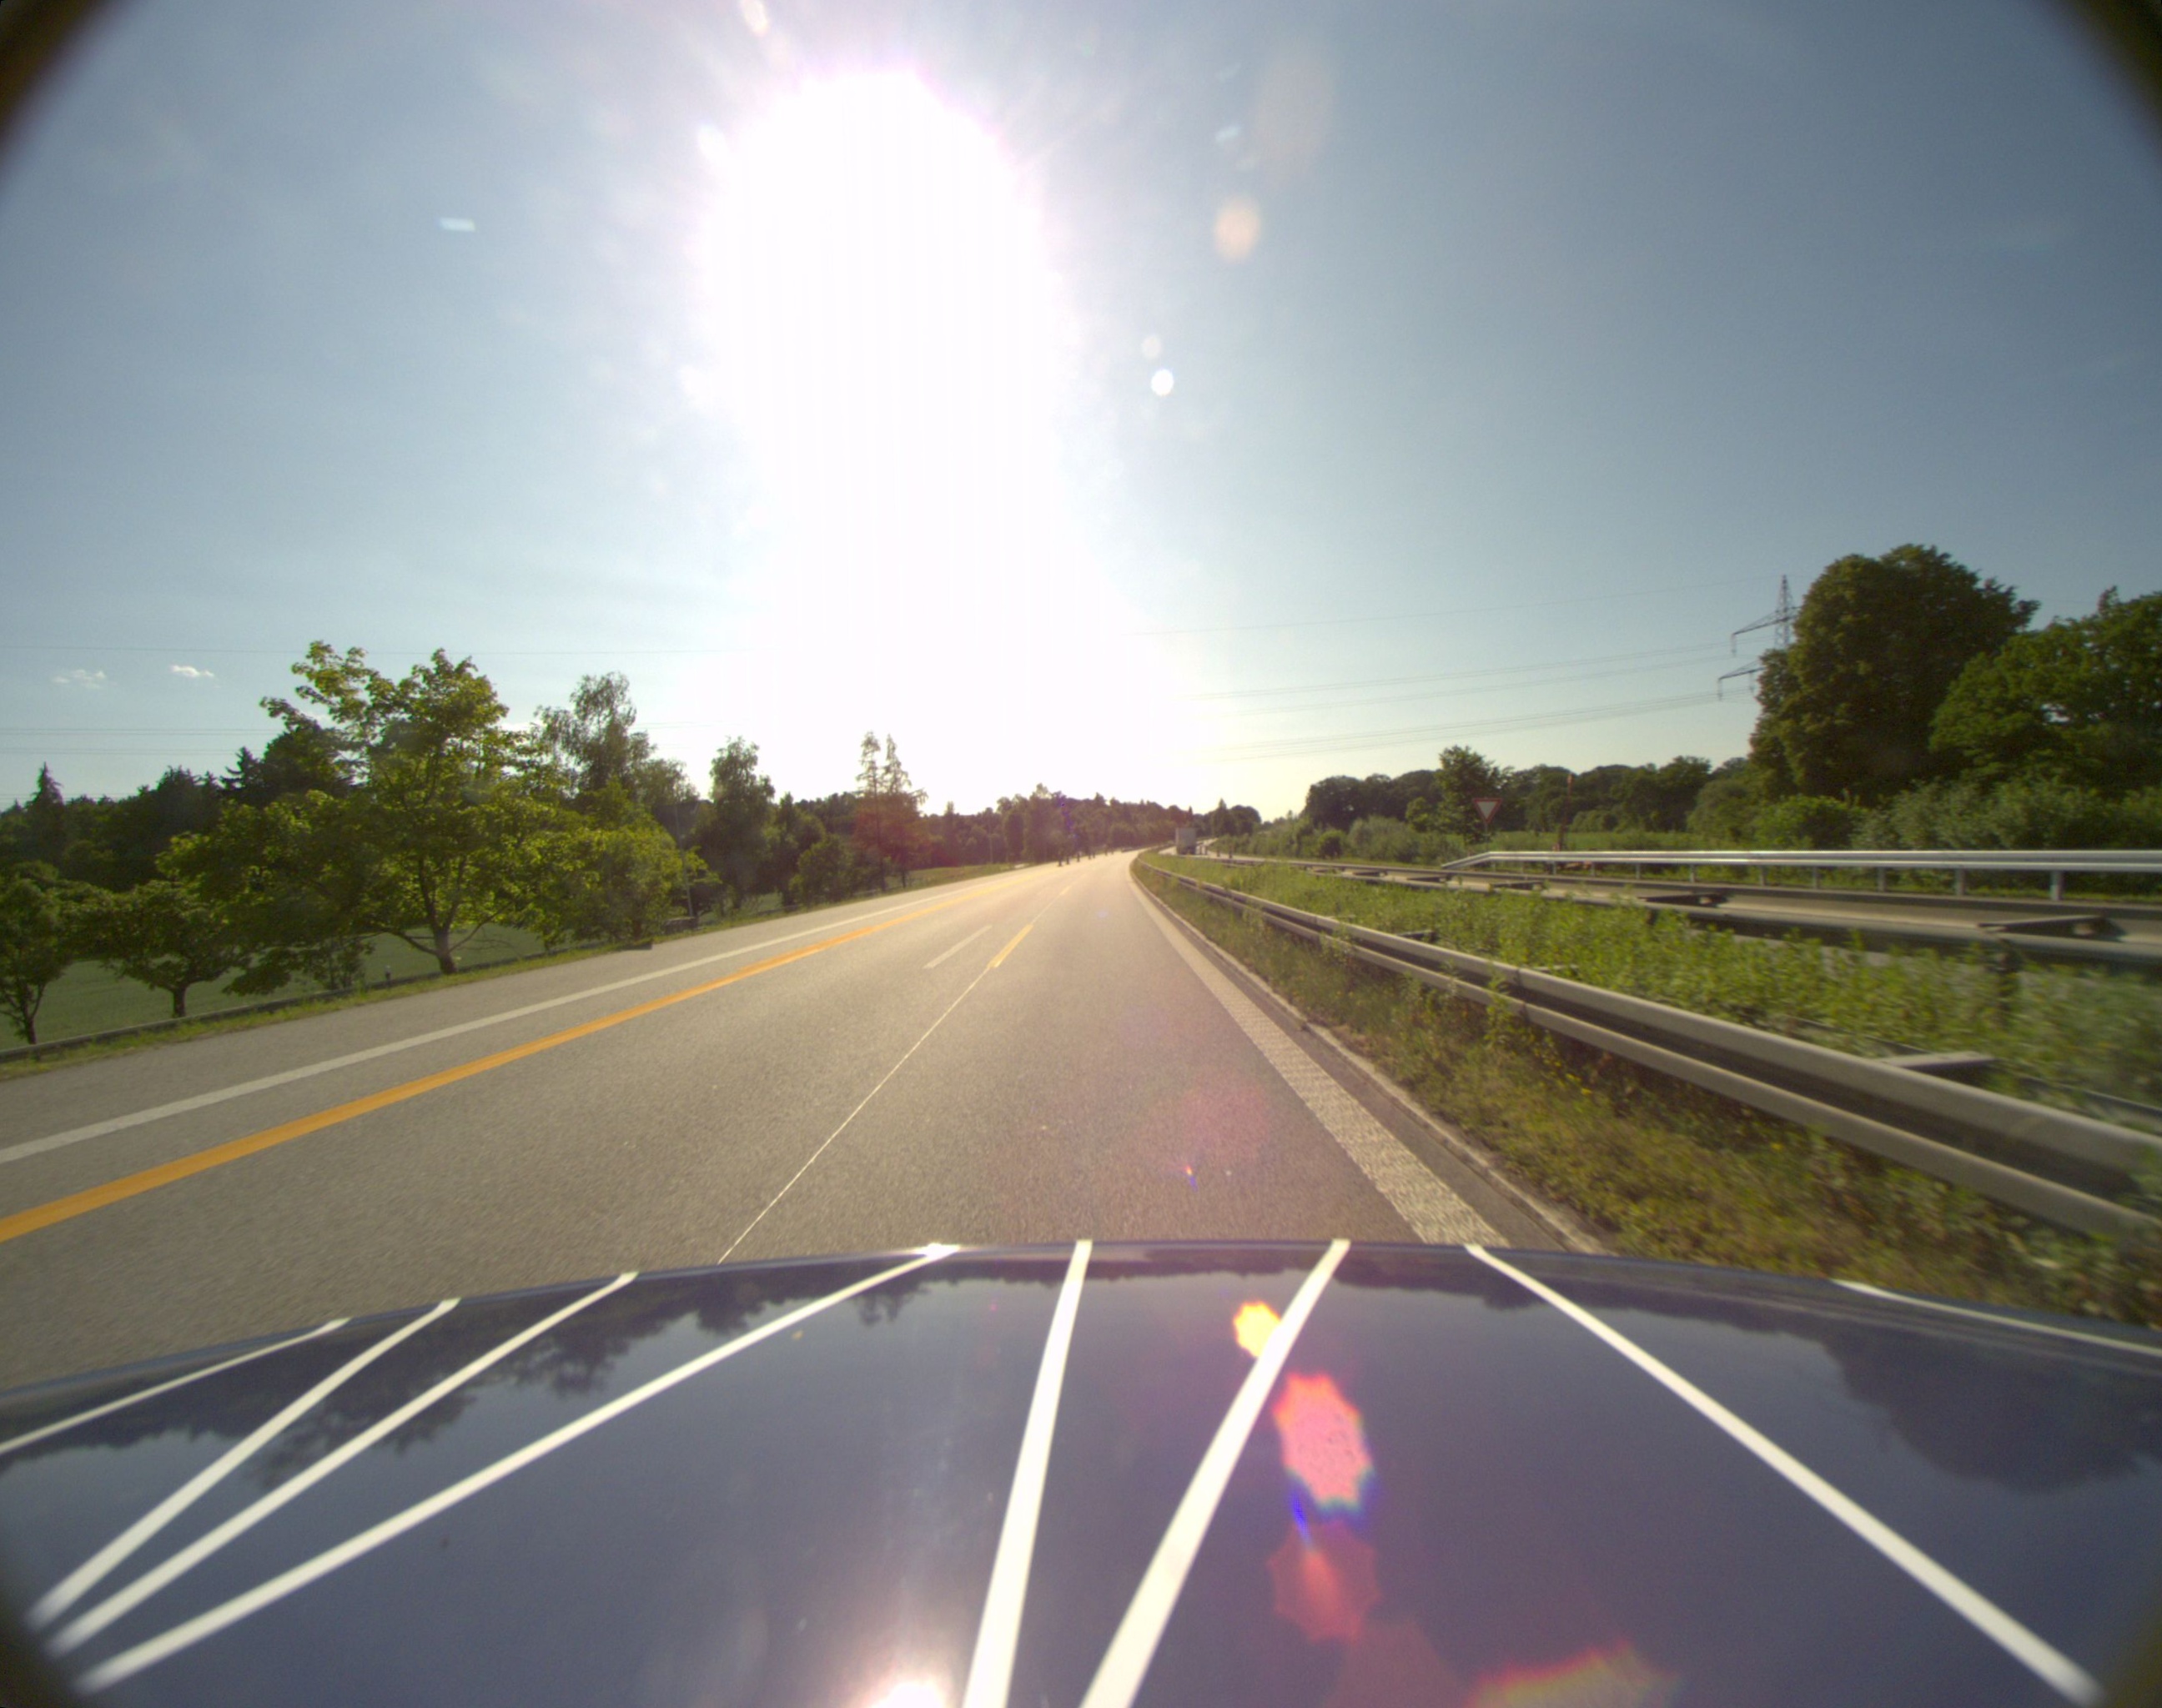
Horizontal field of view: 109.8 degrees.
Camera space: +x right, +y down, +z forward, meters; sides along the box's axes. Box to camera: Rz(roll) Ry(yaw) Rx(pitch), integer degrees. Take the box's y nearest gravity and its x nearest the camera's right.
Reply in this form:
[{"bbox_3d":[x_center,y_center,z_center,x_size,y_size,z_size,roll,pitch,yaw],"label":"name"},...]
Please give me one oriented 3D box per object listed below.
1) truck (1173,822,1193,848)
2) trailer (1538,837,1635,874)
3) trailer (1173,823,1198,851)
[{"bbox_3d":[16.405,-3.003,122.251,2.638,3.937,5.843,-2,1,4],"label":"truck"},{"bbox_3d":[16.827,0.033,25.455,0.995,1.047,3.424,-6,0,2],"label":"trailer"},{"bbox_3d":[15.749,-2.446,115.575,2.685,3.931,13.771,-2,0,4],"label":"trailer"}]
